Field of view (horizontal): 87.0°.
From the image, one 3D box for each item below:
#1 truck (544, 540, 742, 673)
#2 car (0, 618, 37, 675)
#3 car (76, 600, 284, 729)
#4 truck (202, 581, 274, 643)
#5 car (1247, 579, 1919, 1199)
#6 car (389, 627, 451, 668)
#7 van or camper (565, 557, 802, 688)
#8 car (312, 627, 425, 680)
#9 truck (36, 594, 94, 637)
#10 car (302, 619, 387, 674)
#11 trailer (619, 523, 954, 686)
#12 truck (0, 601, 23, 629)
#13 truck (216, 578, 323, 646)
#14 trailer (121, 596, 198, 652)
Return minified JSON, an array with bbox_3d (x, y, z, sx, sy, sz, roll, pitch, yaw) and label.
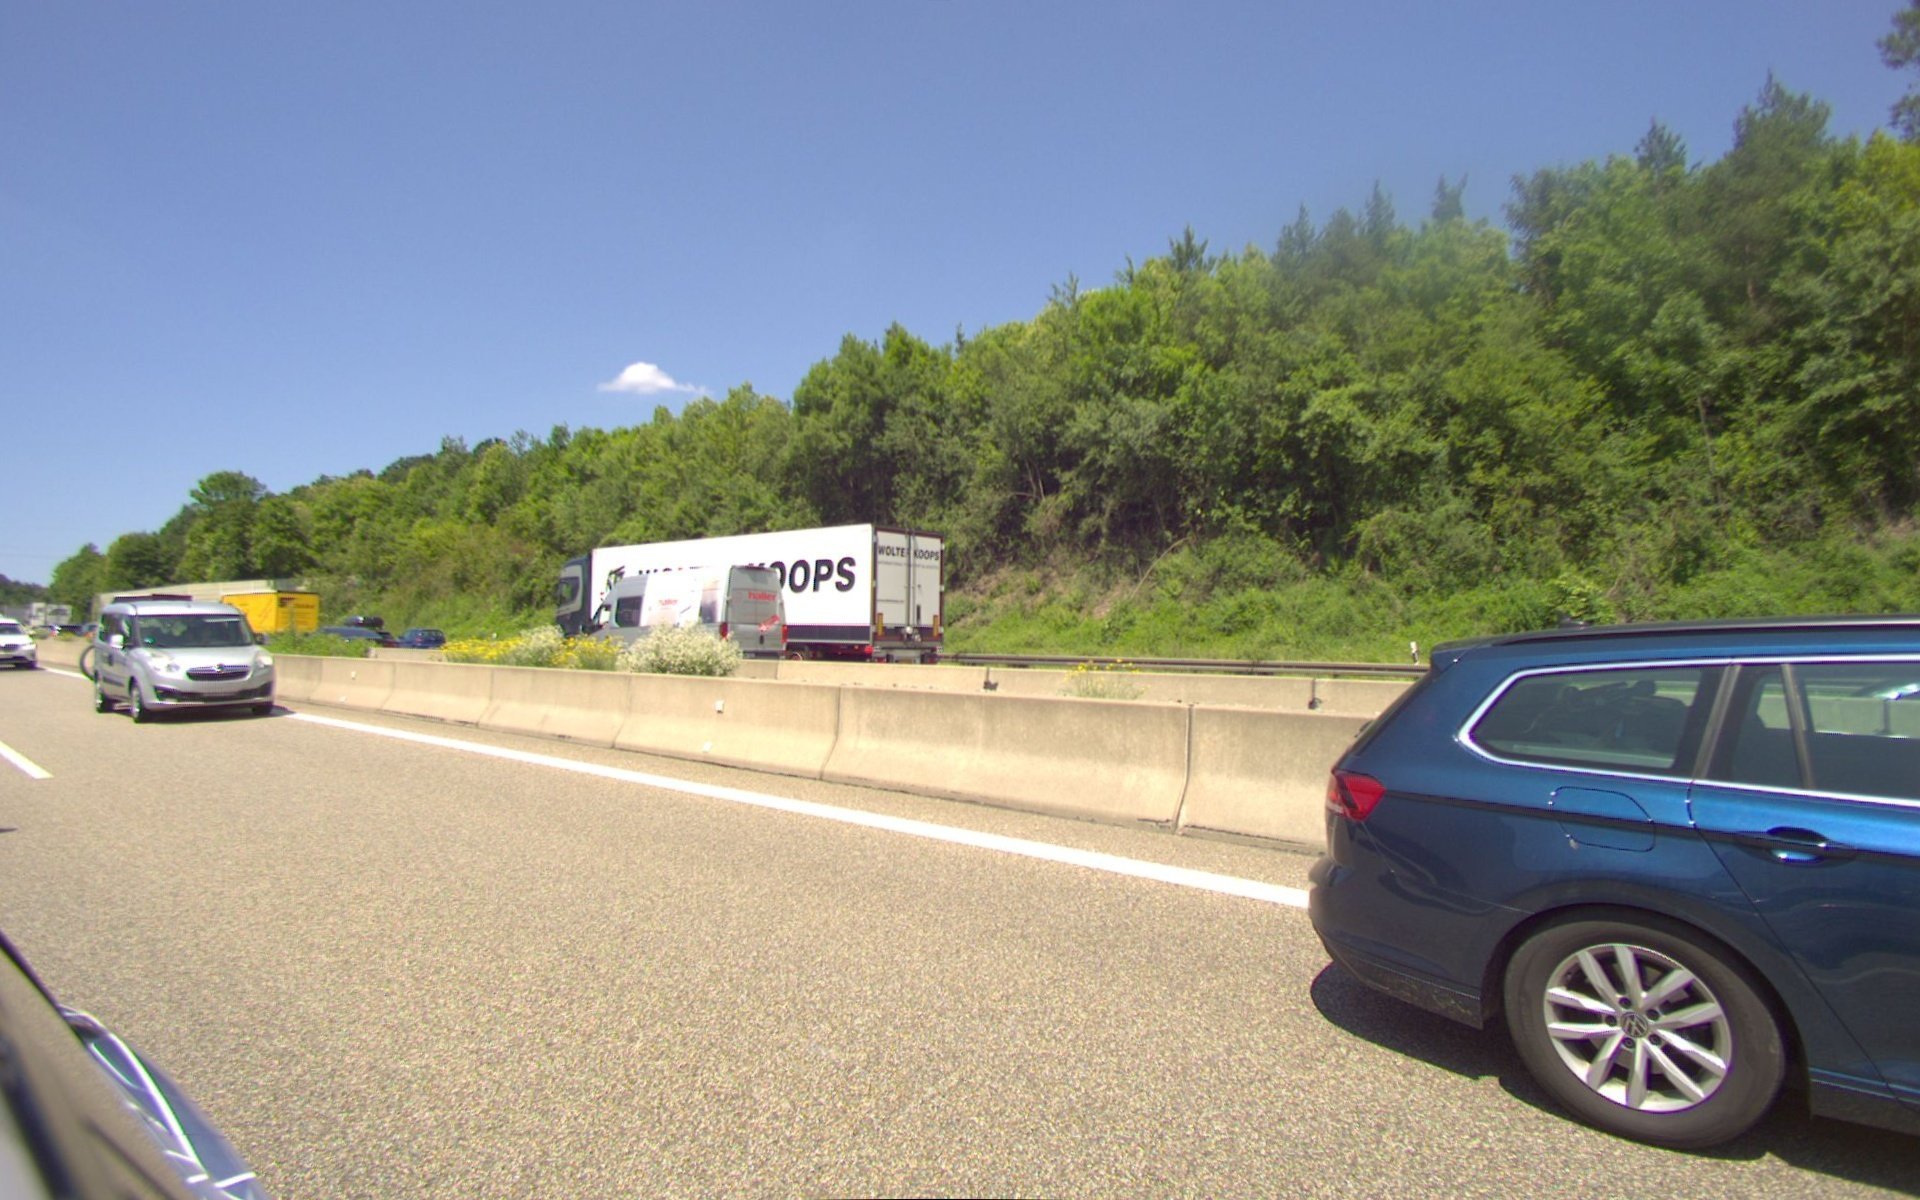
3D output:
[{"bbox_3d":[-10.656,0.202,33.611,7.212,3.949,2.909,-1,0,41],"label":"truck"},{"bbox_3d":[-31.559,1.488,32.937,3.998,1.719,1.800,-1,0,41],"label":"car"},{"bbox_3d":[-12.845,0.924,16.542,4.916,1.786,1.833,-1,0,42],"label":"car"},{"bbox_3d":[-56.493,0.915,79.116,7.091,4.579,3.059,-1,0,41],"label":"truck"},{"bbox_3d":[3.332,0.663,2.556,4.676,1.461,1.855,-1,0,41],"label":"car"},{"bbox_3d":[-29.229,2.504,54.740,1.970,2.029,4.003,-1,0,-44],"label":"car"},{"bbox_3d":[-7.098,0.507,25.458,6.707,2.898,2.370,-1,0,40],"label":"van or camper"},{"bbox_3d":[-17.497,1.533,29.866,3.998,1.462,1.685,-1,-2,41],"label":"car"},{"bbox_3d":[-103.165,1.856,116.558,14.093,4.580,3.235,-3,-1,41],"label":"truck"},{"bbox_3d":[-24.857,1.812,40.819,4.001,2.029,1.971,-1,0,44],"label":"car"},{"bbox_3d":[-5.436,0.135,29.109,11.394,3.901,2.966,-1,0,41],"label":"trailer"},{"bbox_3d":[-165.719,2.694,175.492,14.093,4.580,3.235,-3,-1,41],"label":"truck"},{"bbox_3d":[-50.702,0.853,74.004,14.093,4.579,3.059,-1,0,41],"label":"truck"},{"bbox_3d":[-63.661,1.811,80.444,7.893,4.226,3.399,-1,0,41],"label":"trailer"}]
